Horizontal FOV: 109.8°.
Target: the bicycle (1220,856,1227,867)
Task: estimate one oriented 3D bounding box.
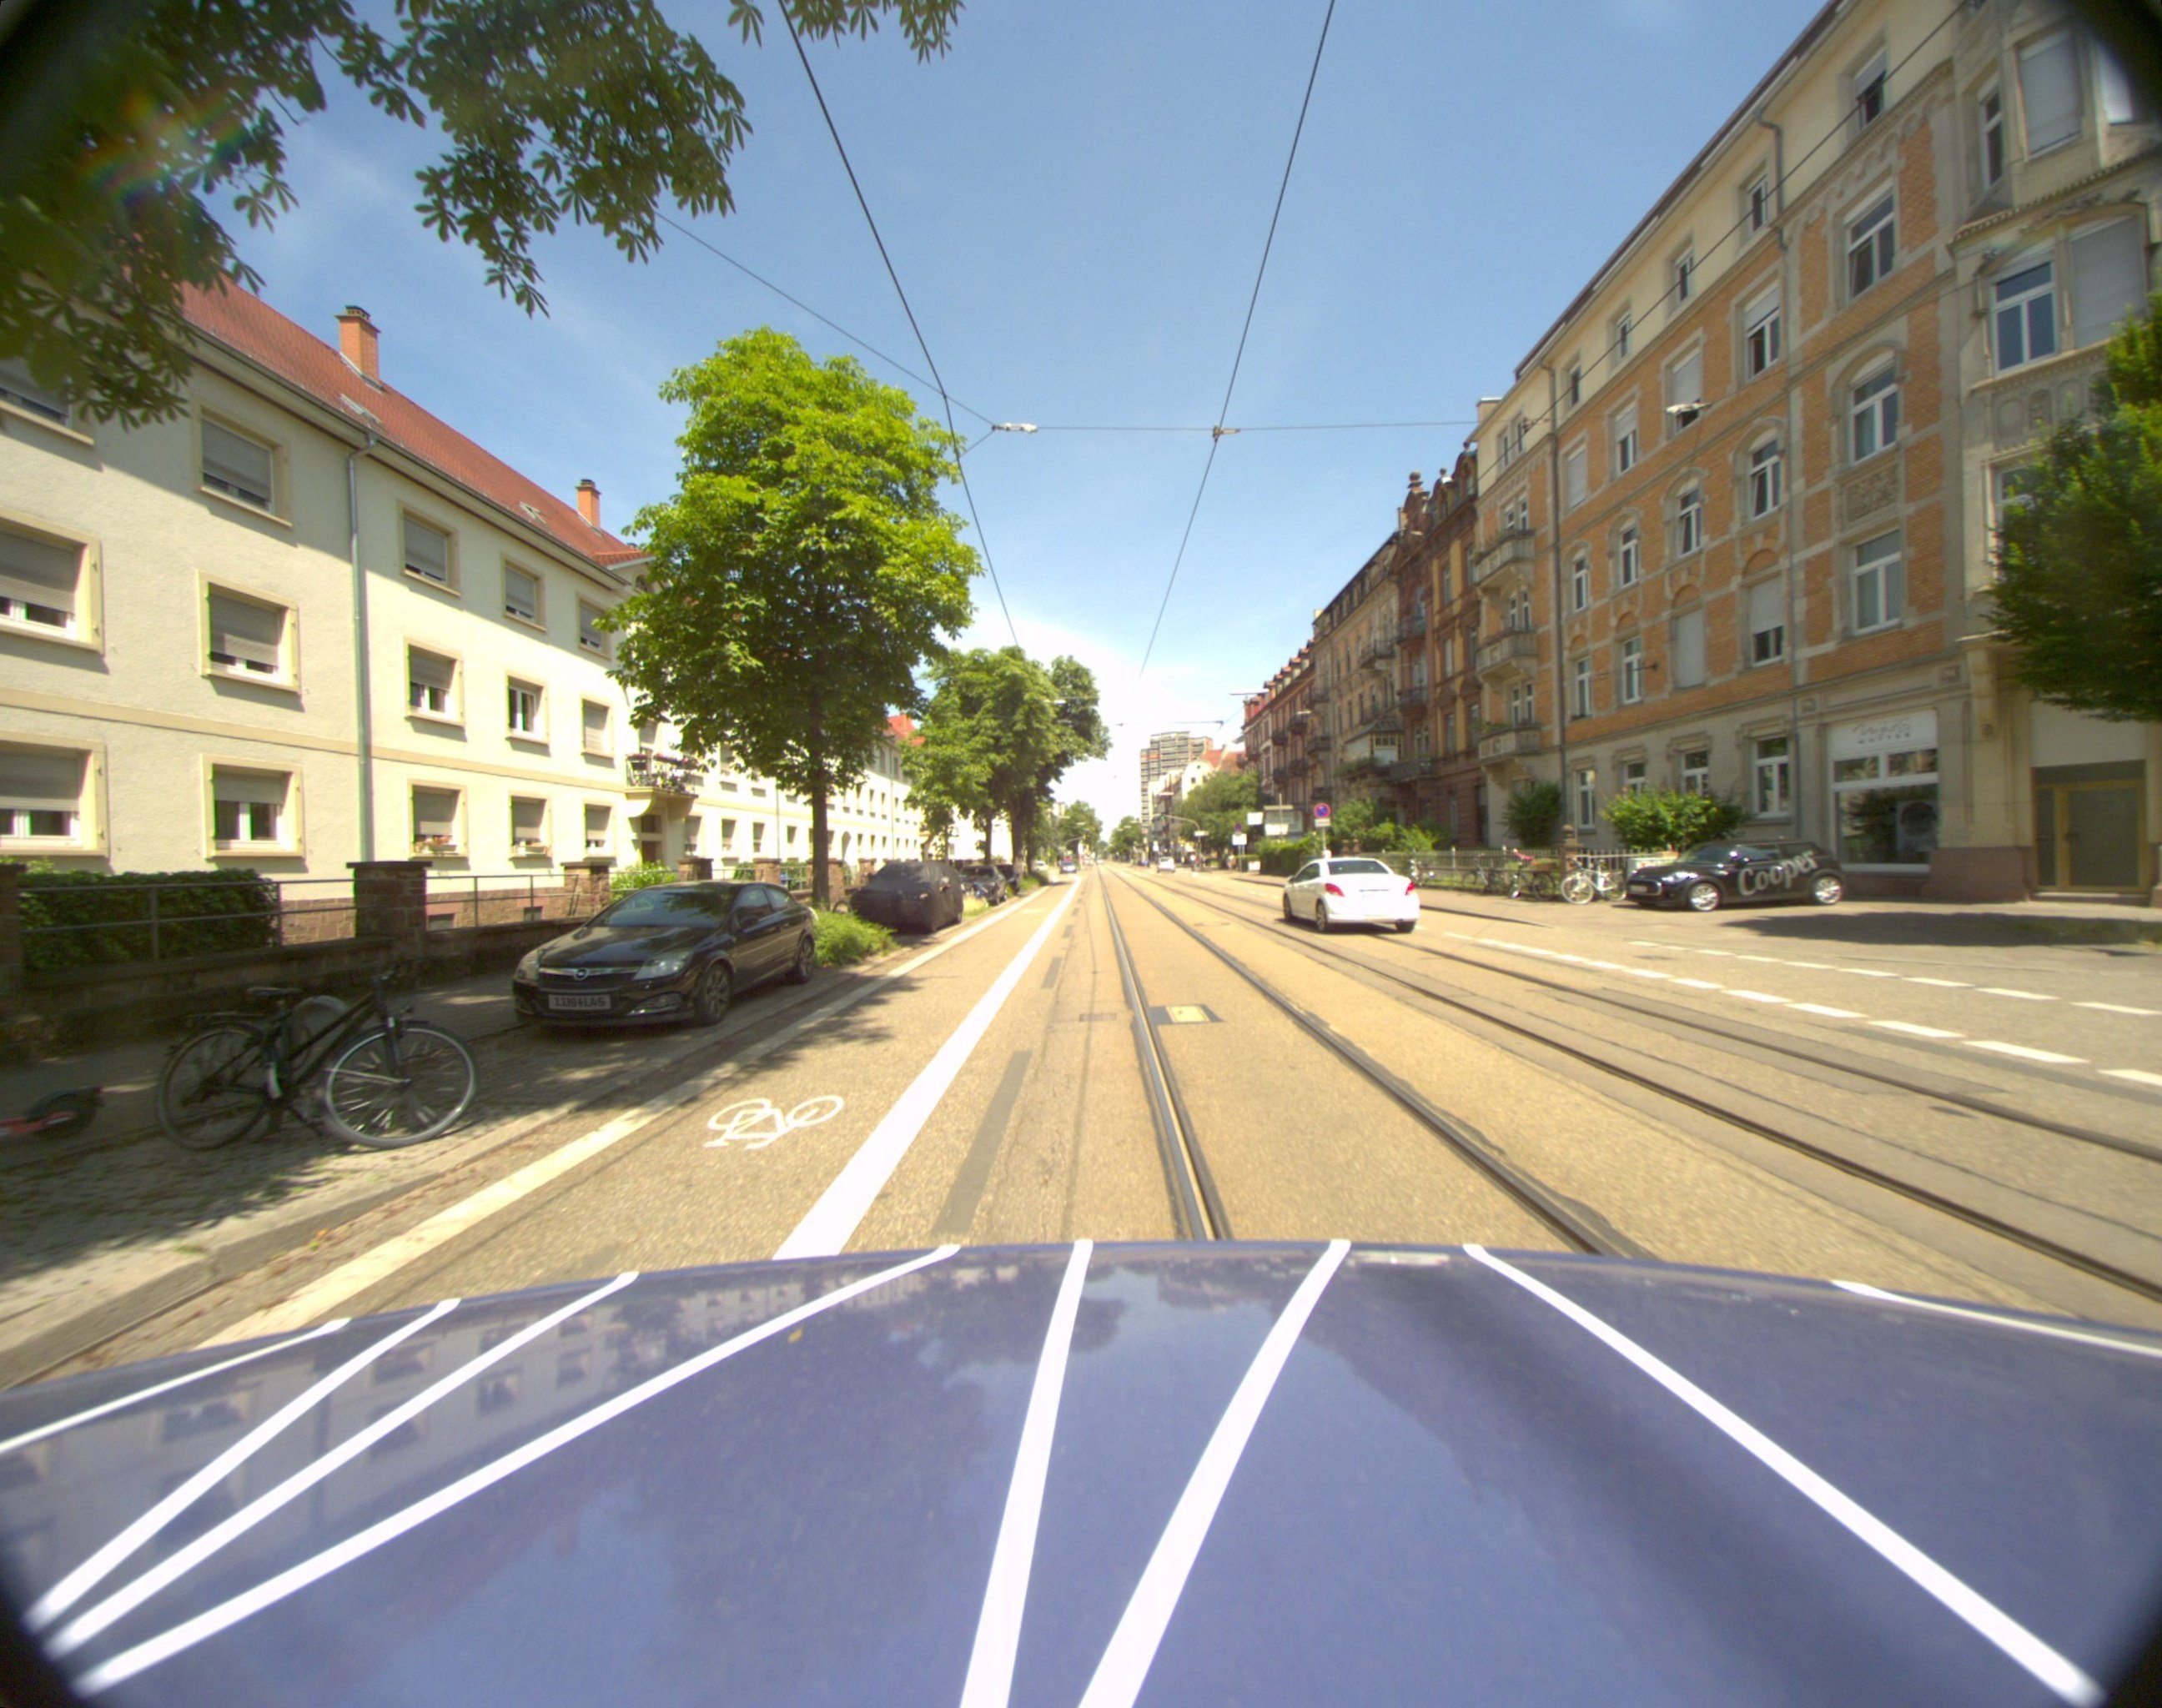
[{"bbox_3d":[14.270,0.735,75.940,0.460,1.050,1.565,-2,0,4],"label":"bicycle"}]

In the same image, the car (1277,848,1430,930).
[{"bbox_3d":[5.303,0.603,15.345,1.760,1.416,4.000,-1,0,2],"label":"car"}]

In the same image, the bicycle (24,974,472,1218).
[{"bbox_3d":[-4.480,1.274,4.194,1.658,1.072,0.606,-1,0,-6],"label":"bicycle"}]

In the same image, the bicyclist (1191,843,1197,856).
[{"bbox_3d":[13.695,-0.559,91.942,0.564,1.507,0.892,-1,0,2],"label":"bicyclist"}]

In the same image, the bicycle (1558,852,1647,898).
[{"bbox_3d":[12.533,0.502,18.287,1.709,1.031,0.551,-2,0,6],"label":"bicycle"}]

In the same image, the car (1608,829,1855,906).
[{"bbox_3d":[13.730,0.259,16.209,3.769,1.420,1.713,-2,1,2],"label":"car"}]

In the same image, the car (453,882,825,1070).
[{"bbox_3d":[-4.445,1.103,8.575,1.699,1.410,4.356,-1,0,-1],"label":"car"}]

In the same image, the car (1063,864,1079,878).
[{"bbox_3d":[-1.137,1.974,88.753,1.737,1.543,4.424,-1,0,-1],"label":"car"}]

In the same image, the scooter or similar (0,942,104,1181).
[{"bbox_3d":[-6.016,1.127,3.847,0.379,1.206,1.250,-1,1,32],"label":"scooter or similar"}]

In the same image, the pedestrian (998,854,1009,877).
[{"bbox_3d":[-5.636,0.841,55.320,0.699,1.660,0.869,1,0,0],"label":"pedestrian"}]

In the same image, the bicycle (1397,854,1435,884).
[{"bbox_3d":[11.817,0.516,26.839,0.498,0.981,1.711,-6,0,-1],"label":"bicycle"}]

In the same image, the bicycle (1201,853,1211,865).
[{"bbox_3d":[11.474,0.440,69.890,0.630,1.072,1.875,0,0,1],"label":"bicycle"}]

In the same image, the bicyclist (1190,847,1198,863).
[{"bbox_3d":[10.420,0.090,69.822,0.594,1.535,0.952,0,0,1],"label":"bicyclist"}]

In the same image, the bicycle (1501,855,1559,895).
[{"bbox_3d":[11.580,0.527,19.657,0.440,0.978,1.711,-2,0,-1],"label":"bicycle"}]

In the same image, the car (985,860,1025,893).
[{"bbox_3d":[-3.791,1.090,38.263,1.661,1.506,3.999,-2,0,-2],"label":"car"}]

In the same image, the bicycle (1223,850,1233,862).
[{"bbox_3d":[13.224,0.186,68.353,0.639,1.087,1.932,-4,0,4],"label":"bicycle"}]

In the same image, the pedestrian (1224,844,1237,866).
[{"bbox_3d":[11.835,0.085,60.150,0.873,1.690,1.014,-2,0,7],"label":"pedestrian"}]

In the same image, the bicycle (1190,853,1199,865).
[{"bbox_3d":[10.425,0.482,69.841,0.582,1.072,1.890,0,0,1],"label":"bicycle"}]

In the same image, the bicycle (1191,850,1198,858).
[{"bbox_3d":[13.711,-0.004,91.918,0.569,1.032,1.829,-1,0,2],"label":"bicycle"}]

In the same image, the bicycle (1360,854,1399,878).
[{"bbox_3d":[13.177,0.521,33.588,1.513,1.037,0.495,-1,0,3],"label":"bicycle"}]

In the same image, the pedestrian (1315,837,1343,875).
[{"bbox_3d":[11.616,0.082,35.573,0.853,1.713,1.139,-4,0,2],"label":"pedestrian"}]

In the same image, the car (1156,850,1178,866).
[{"bbox_3d":[8.118,0.373,71.958,1.688,1.441,4.001,-1,0,2],"label":"car"}]

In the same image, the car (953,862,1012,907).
[{"bbox_3d":[-3.770,1.130,29.660,1.737,1.543,4.453,-1,0,-1],"label":"car"}]

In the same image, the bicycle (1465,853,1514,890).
[{"bbox_3d":[11.634,0.483,21.698,0.440,0.978,1.711,-2,0,-1],"label":"bicycle"}]

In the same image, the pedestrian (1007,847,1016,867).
[{"bbox_3d":[-5.739,0.267,62.720,0.699,1.660,0.756,-2,0,0],"label":"pedestrian"}]

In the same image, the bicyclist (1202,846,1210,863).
[{"bbox_3d":[11.473,0.042,69.815,0.635,1.575,1.028,0,0,1],"label":"bicyclist"}]

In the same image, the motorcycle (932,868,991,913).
[{"bbox_3d":[-4.040,1.238,25.818,1.919,1.425,0.671,-2,0,-8],"label":"motorcycle"}]

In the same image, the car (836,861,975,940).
[{"bbox_3d":[-4.127,1.039,18.834,1.951,1.641,4.881,-1,0,4],"label":"car"}]

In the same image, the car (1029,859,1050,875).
[{"bbox_3d":[-3.914,1.193,72.274,1.782,1.402,4.156,3,0,0],"label":"car"}]
